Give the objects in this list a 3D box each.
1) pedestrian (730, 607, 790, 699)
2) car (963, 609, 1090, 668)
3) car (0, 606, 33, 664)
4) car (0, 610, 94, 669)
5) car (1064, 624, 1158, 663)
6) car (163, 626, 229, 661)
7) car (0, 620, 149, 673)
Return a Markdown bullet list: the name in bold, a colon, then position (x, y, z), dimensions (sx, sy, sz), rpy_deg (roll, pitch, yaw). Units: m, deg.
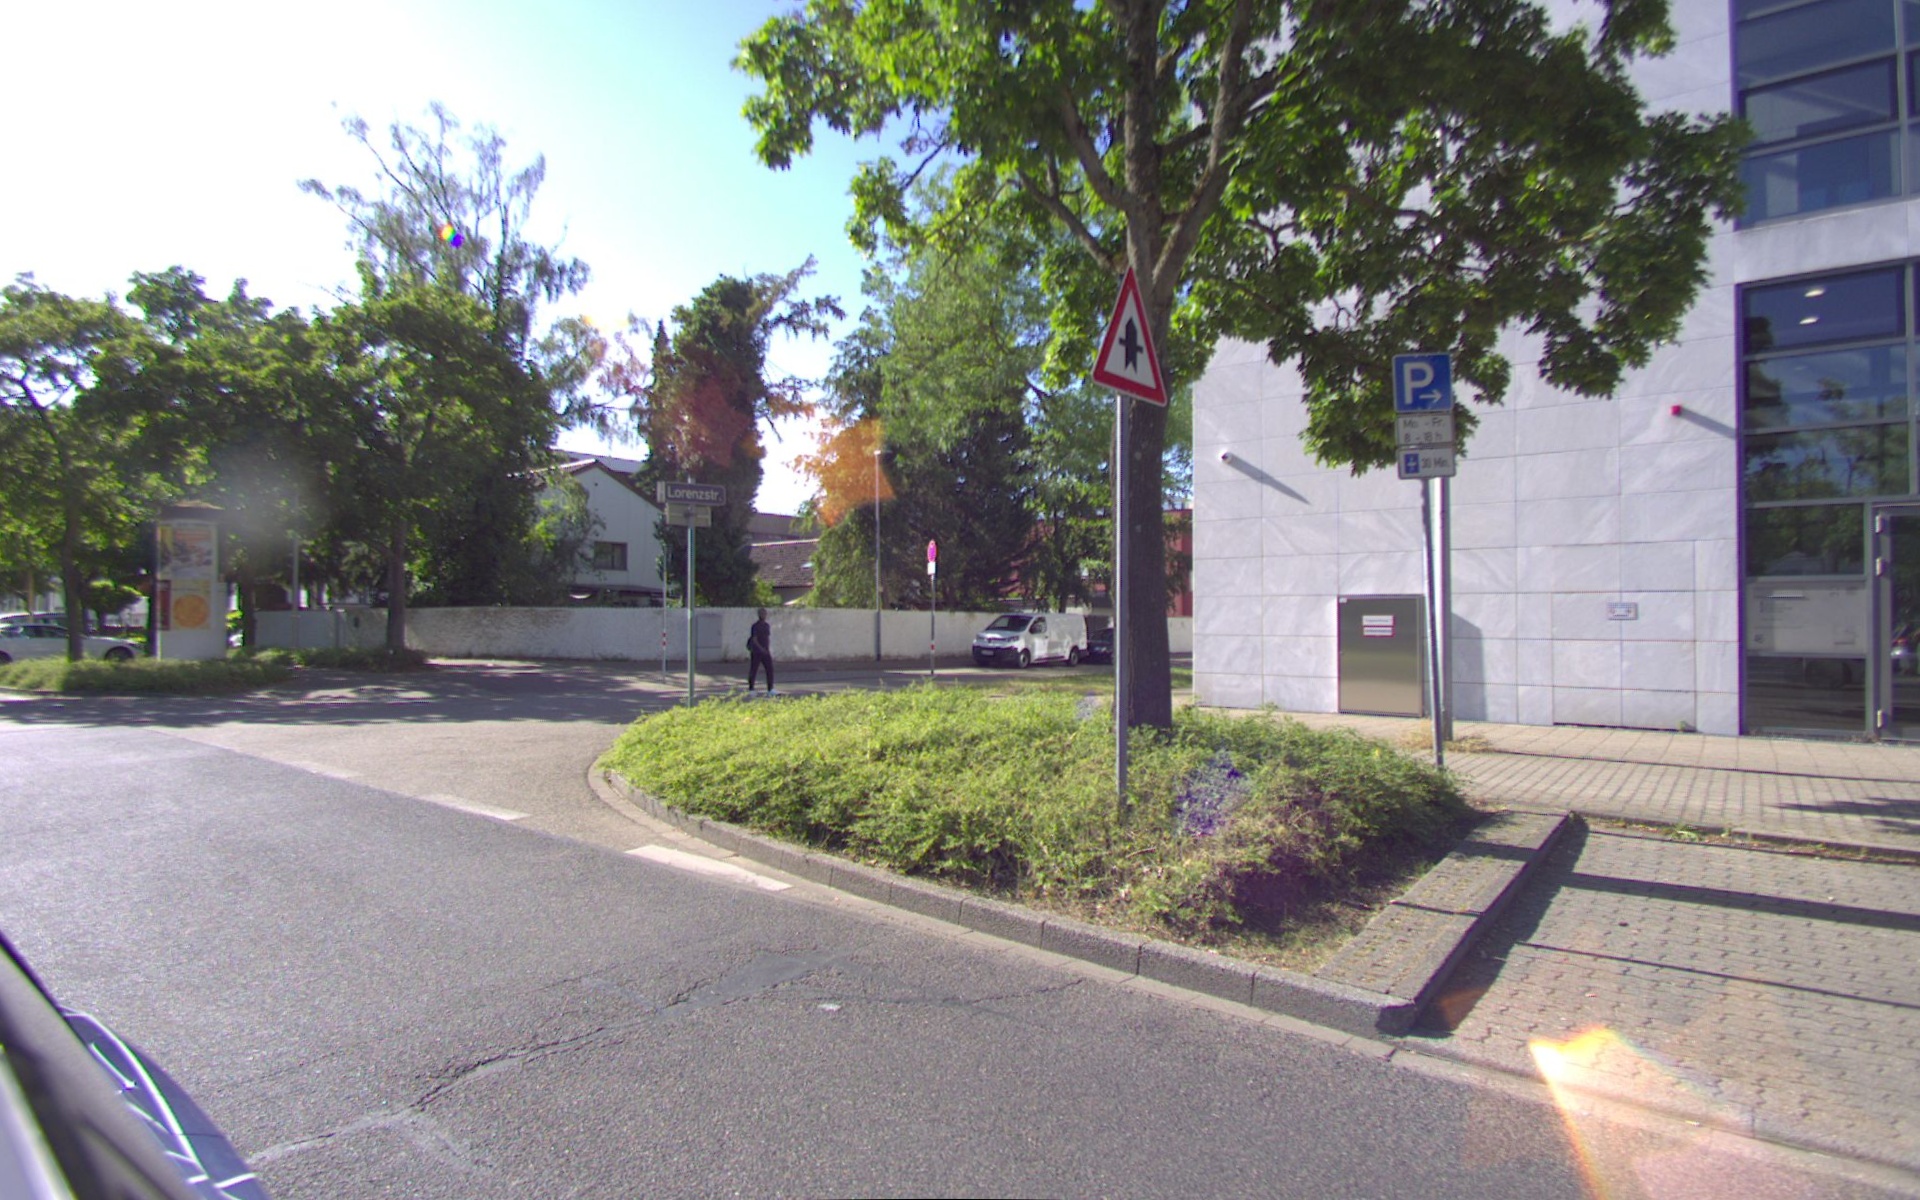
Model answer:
- **pedestrian**: position (-3.807, 0.997, 19.264), dimensions (0.825, 1.697, 0.809), rpy_deg (2, -3, -38)
- **car**: position (2.446, 1.334, 35.811), dimensions (1.903, 1.928, 5.080), rpy_deg (0, -1, 39)
- **car**: position (-41.529, 1.452, 41.366), dimensions (1.997, 2.397, 5.070), rpy_deg (-2, -3, 37)
- **car**: position (-33.157, 1.380, 34.986), dimensions (1.997, 2.006, 4.577), rpy_deg (-2, -3, 37)
- **car**: position (6.059, 1.696, 40.253), dimensions (1.830, 1.434, 4.226), rpy_deg (0, -1, 39)
- **car**: position (-37.322, 2.107, 49.392), dimensions (4.144, 1.626, 1.810), rpy_deg (-1, -3, 43)
- **car**: position (-27.269, 1.369, 30.092), dimensions (1.827, 1.416, 4.626), rpy_deg (-1, 0, 39)
